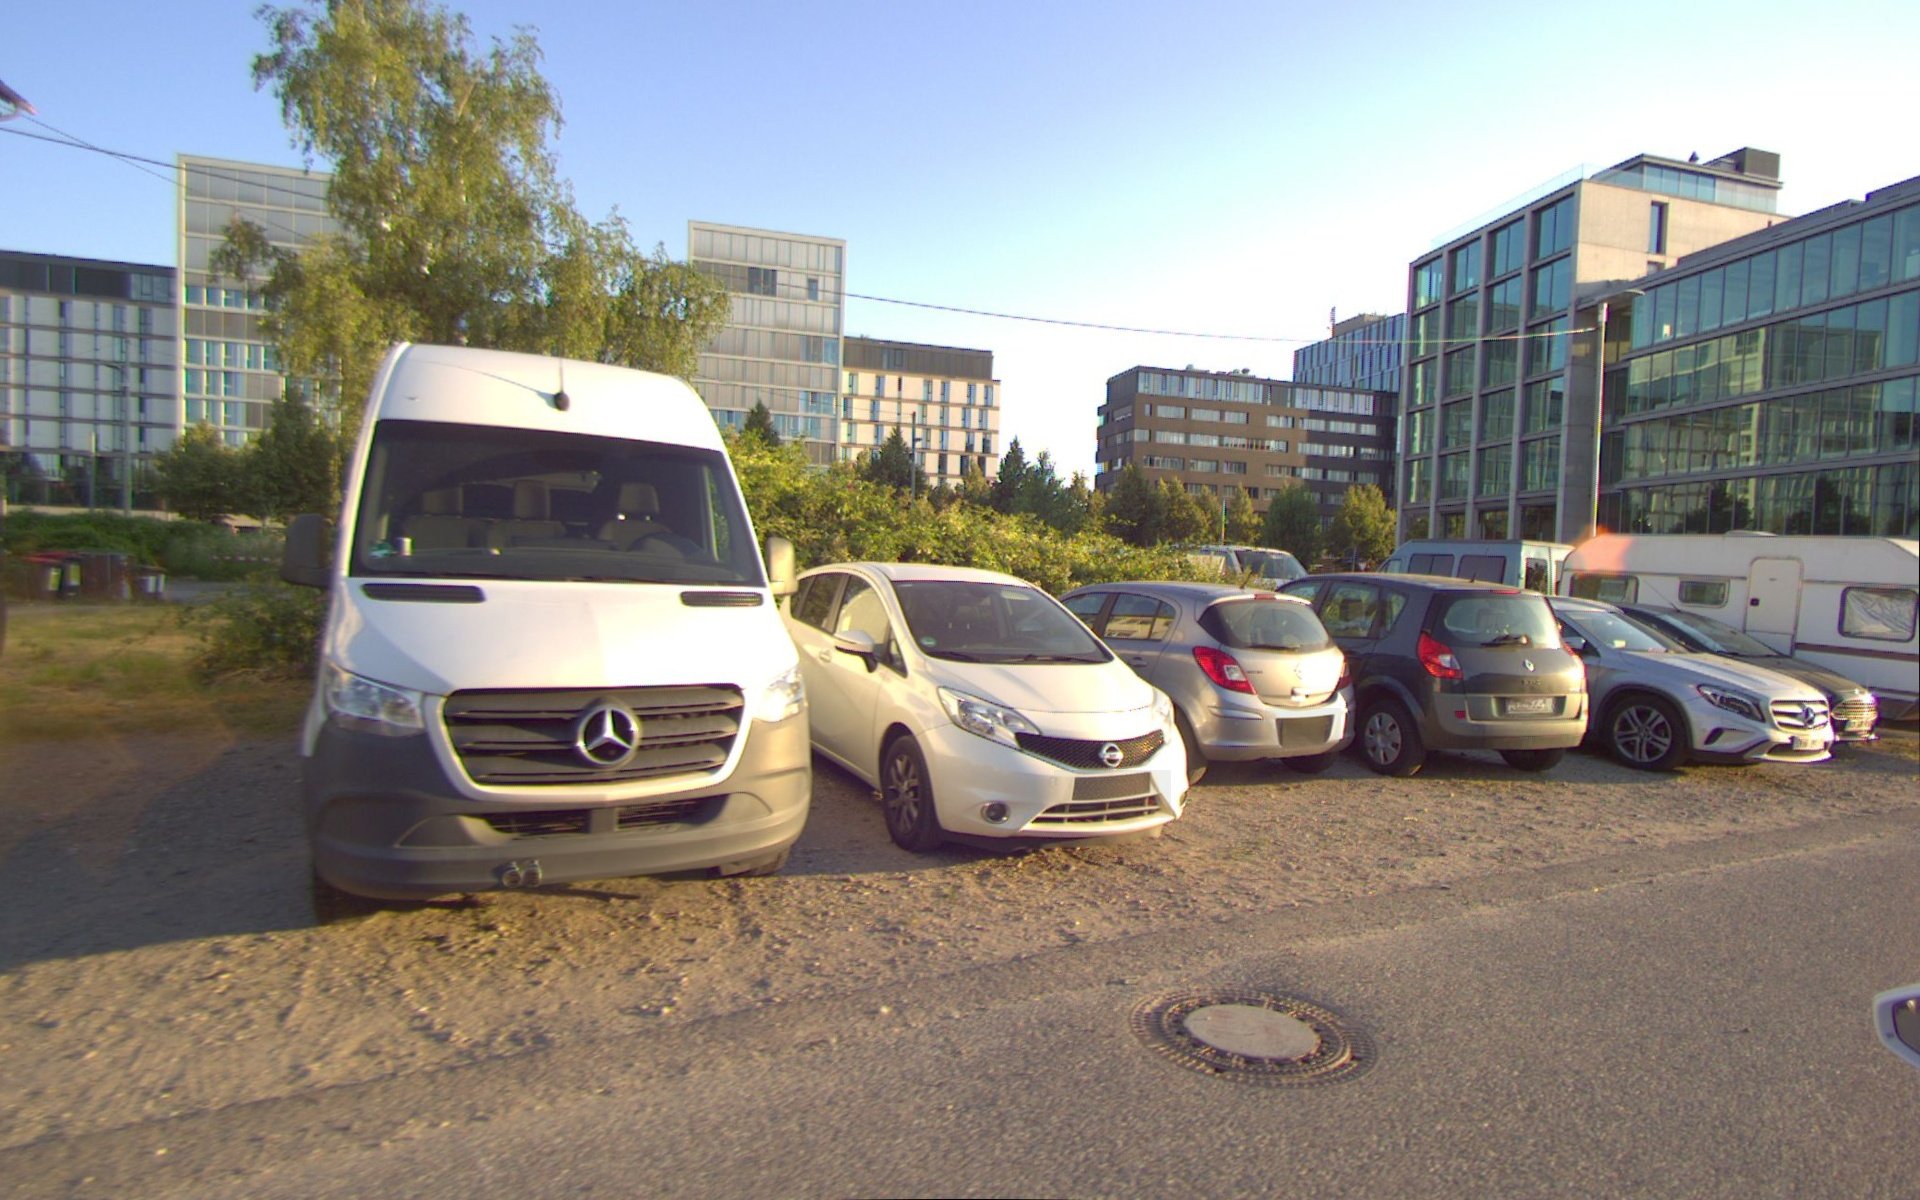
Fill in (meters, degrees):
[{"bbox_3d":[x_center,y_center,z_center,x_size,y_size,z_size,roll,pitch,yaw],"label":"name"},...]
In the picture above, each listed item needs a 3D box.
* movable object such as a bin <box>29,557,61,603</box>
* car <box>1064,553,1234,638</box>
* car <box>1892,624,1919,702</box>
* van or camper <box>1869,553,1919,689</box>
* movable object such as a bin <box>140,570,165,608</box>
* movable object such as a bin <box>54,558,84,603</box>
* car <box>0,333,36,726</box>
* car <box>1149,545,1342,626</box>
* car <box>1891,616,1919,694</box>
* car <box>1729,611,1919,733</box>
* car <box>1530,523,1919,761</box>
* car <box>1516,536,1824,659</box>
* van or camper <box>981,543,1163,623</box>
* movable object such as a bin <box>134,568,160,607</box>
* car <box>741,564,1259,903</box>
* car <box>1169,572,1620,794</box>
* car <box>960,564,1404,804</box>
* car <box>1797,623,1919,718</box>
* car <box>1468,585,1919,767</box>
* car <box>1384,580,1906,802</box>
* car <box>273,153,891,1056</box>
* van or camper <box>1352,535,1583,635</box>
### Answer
[{"bbox_3d":[-19.015,-0.409,20.884,0.436,0.927,0.323,1,1,-33],"label":"movable object such as a bin"},{"bbox_3d":[3.648,-0.148,19.990,1.641,1.496,3.597,1,2,-21],"label":"car"},{"bbox_3d":[18.348,1.217,16.695,1.670,1.346,3.796,1,2,-24],"label":"car"},{"bbox_3d":[22.726,0.596,19.750,2.374,2.937,6.725,1,2,-22],"label":"van or camper"},{"bbox_3d":[-20.068,-0.278,24.959,0.436,0.927,0.323,1,1,-33],"label":"movable object such as a bin"},{"bbox_3d":[-19.064,-0.414,21.497,0.436,0.927,0.323,1,1,-33],"label":"movable object such as a bin"},{"bbox_3d":[-6.361,-0.344,4.578,2.091,2.749,6.348,2,3,-33],"label":"car"},{"bbox_3d":[5.985,-0.375,21.664,1.950,1.496,4.365,2,2,-16],"label":"car"},{"bbox_3d":[20.272,1.188,18.945,1.671,1.496,3.589,1,3,-27],"label":"car"},{"bbox_3d":[13.775,1.057,14.673,1.683,1.539,3.615,1,2,-26],"label":"car"},{"bbox_3d":[10.893,0.390,12.933,2.376,2.568,5.876,2,3,-21],"label":"car"},{"bbox_3d":[17.649,-0.189,25.550,2.188,2.709,6.237,2,2,-17],"label":"car"},{"bbox_3d":[4.264,-0.623,38.111,6.538,2.726,2.012,2,3,-19],"label":"van or camper"},{"bbox_3d":[-19.923,-0.303,24.615,0.436,0.927,0.323,1,1,-33],"label":"movable object such as a bin"},{"bbox_3d":[-0.078,0.582,6.777,1.767,1.527,3.910,2,2,-27],"label":"car"},{"bbox_3d":[3.810,0.594,9.628,1.721,1.612,3.920,1,2,-19],"label":"car"},{"bbox_3d":[1.702,0.556,9.036,1.726,1.612,3.909,3,1,-28],"label":"car"},{"bbox_3d":[15.972,1.195,15.948,1.683,1.385,3.712,1,2,-26],"label":"car"},{"bbox_3d":[8.612,0.762,12.203,1.724,1.612,4.113,2,3,-25],"label":"car"},{"bbox_3d":[6.605,0.754,10.327,1.722,1.612,4.120,4,2,-19],"label":"car"},{"bbox_3d":[-2.620,-0.135,6.085,2.026,2.750,5.797,1,4,-29],"label":"car"},{"bbox_3d":[10.872,-0.390,21.913,1.902,1.916,4.332,2,2,-19],"label":"van or camper"}]
